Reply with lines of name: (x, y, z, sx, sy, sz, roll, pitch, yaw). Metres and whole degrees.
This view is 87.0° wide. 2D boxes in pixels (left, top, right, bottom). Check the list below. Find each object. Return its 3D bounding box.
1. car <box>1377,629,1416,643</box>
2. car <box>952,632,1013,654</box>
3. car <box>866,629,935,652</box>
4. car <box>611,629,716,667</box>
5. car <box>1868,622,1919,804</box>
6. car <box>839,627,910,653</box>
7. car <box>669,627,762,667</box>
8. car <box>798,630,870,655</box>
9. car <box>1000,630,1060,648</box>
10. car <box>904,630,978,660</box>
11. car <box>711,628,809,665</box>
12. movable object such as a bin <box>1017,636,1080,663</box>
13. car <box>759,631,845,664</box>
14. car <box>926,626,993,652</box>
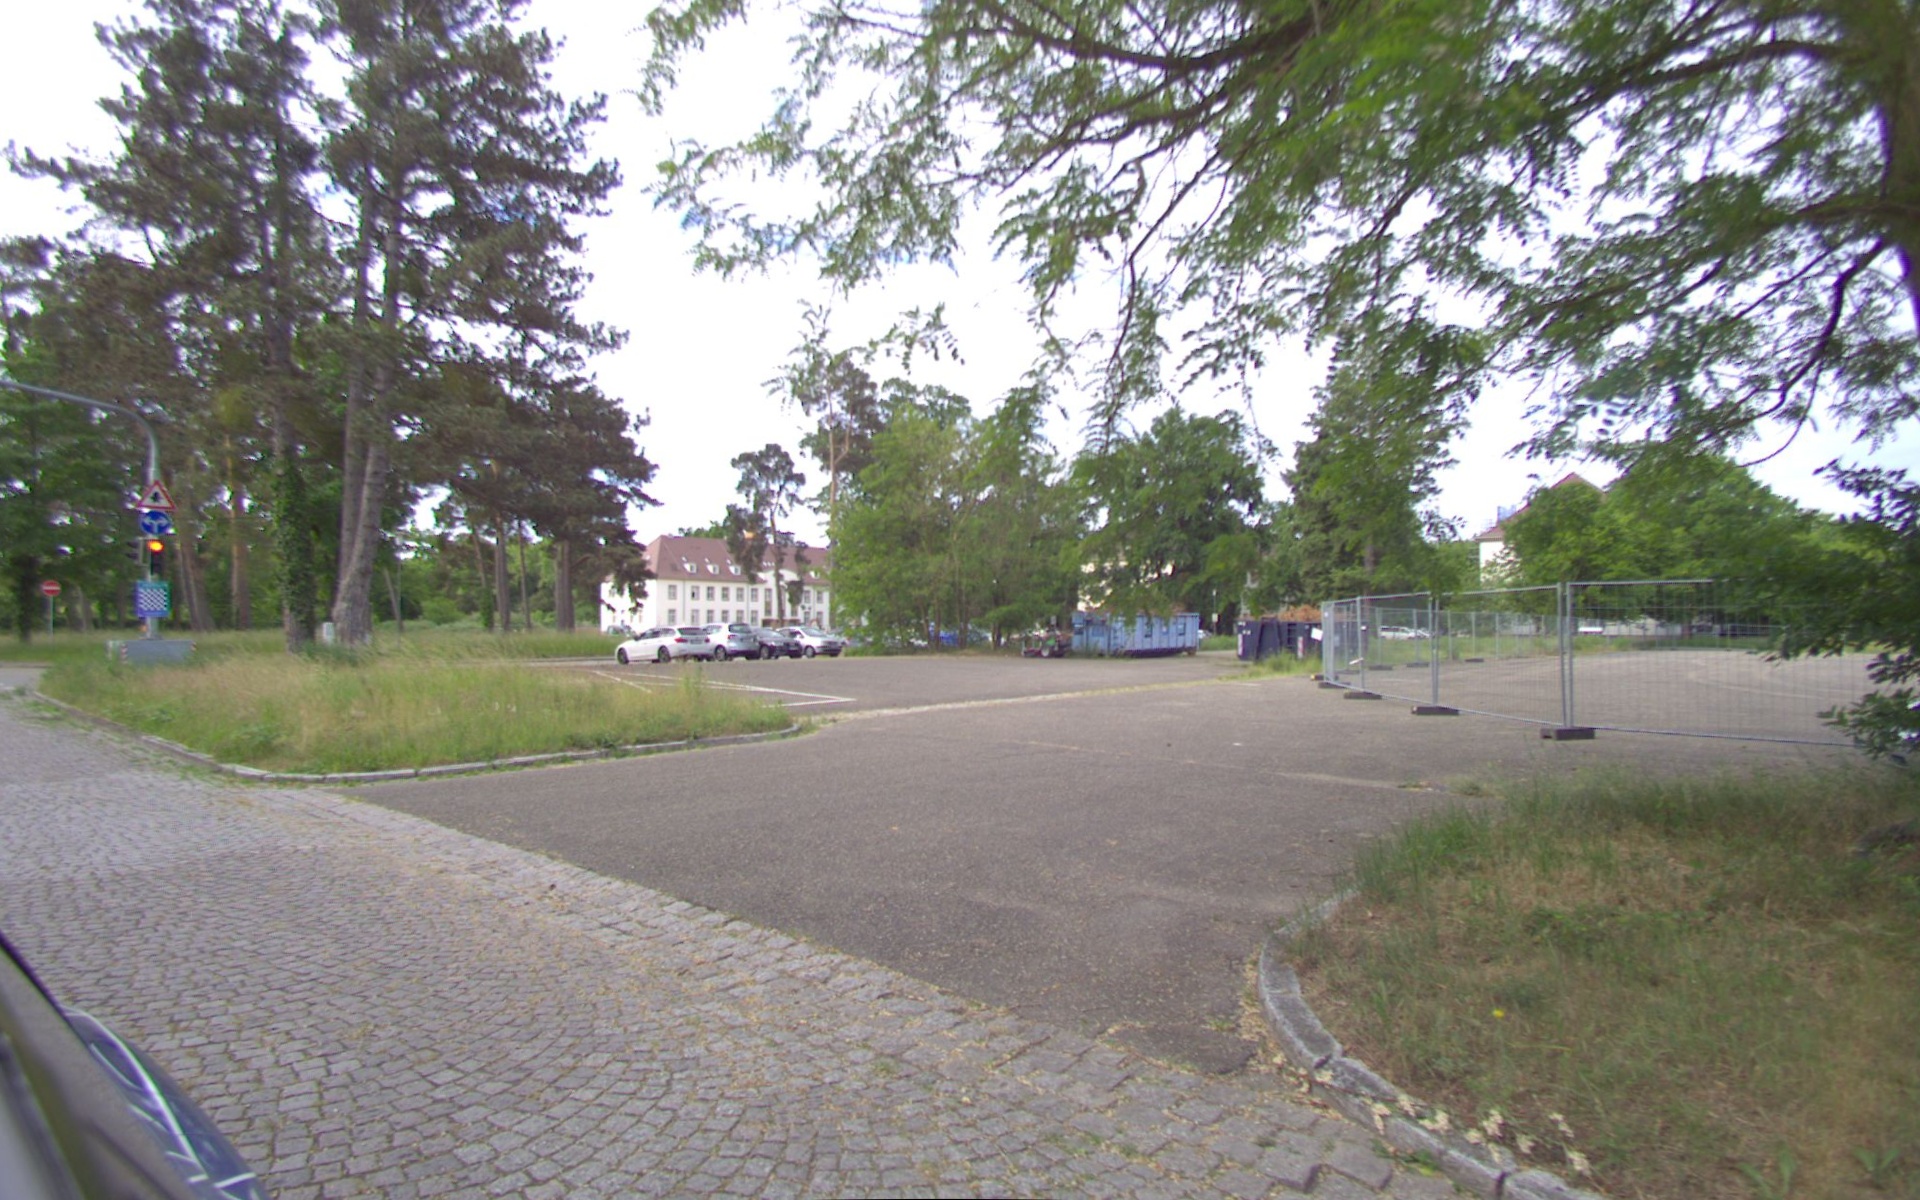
car: (55.934, 4.601, 129.705, 4.289, 1.735, 1.805, -2, 0, 42)
car: (1.564, 3.054, 71.867, 4.187, 1.486, 1.805, -2, -2, 41)
car: (-3.942, 2.653, 66.436, 4.394, 1.486, 1.808, -2, -2, 37)
car: (-11.659, 1.854, 39.694, 4.315, 1.436, 1.807, -2, -2, 39)
car: (9.693, 0.865, 7.392, 4.416, 1.427, 1.806, -2, -2, 39)
car: (-5.432, 2.521, 63.900, 4.394, 1.486, 1.808, -2, 0, 37)
car: (-10.076, 1.926, 41.616, 3.894, 1.532, 1.653, -4, -4, 38)
car: (-7.763, 2.567, 62.128, 4.397, 1.486, 1.807, -2, -2, 39)
car: (5.316, 2.969, 76.916, 4.400, 1.361, 1.689, -2, -2, 41)
car: (-0.996, 2.304, 52.490, 3.588, 1.486, 1.659, -2, -2, 39)
car: (-8.699, 1.988, 43.854, 4.397, 1.486, 1.807, -2, -2, 39)
movable object such as a bin: (3.379, 1.862, 38.556, 1.953, 0.976, 1.431, -1, -2, 34)
car: (-7.252, 2.149, 46.283, 4.032, 1.410, 1.617, -2, -2, 39)
car: (-0.067, 2.653, 69.960, 4.579, 1.736, 1.805, -2, -2, 41)
